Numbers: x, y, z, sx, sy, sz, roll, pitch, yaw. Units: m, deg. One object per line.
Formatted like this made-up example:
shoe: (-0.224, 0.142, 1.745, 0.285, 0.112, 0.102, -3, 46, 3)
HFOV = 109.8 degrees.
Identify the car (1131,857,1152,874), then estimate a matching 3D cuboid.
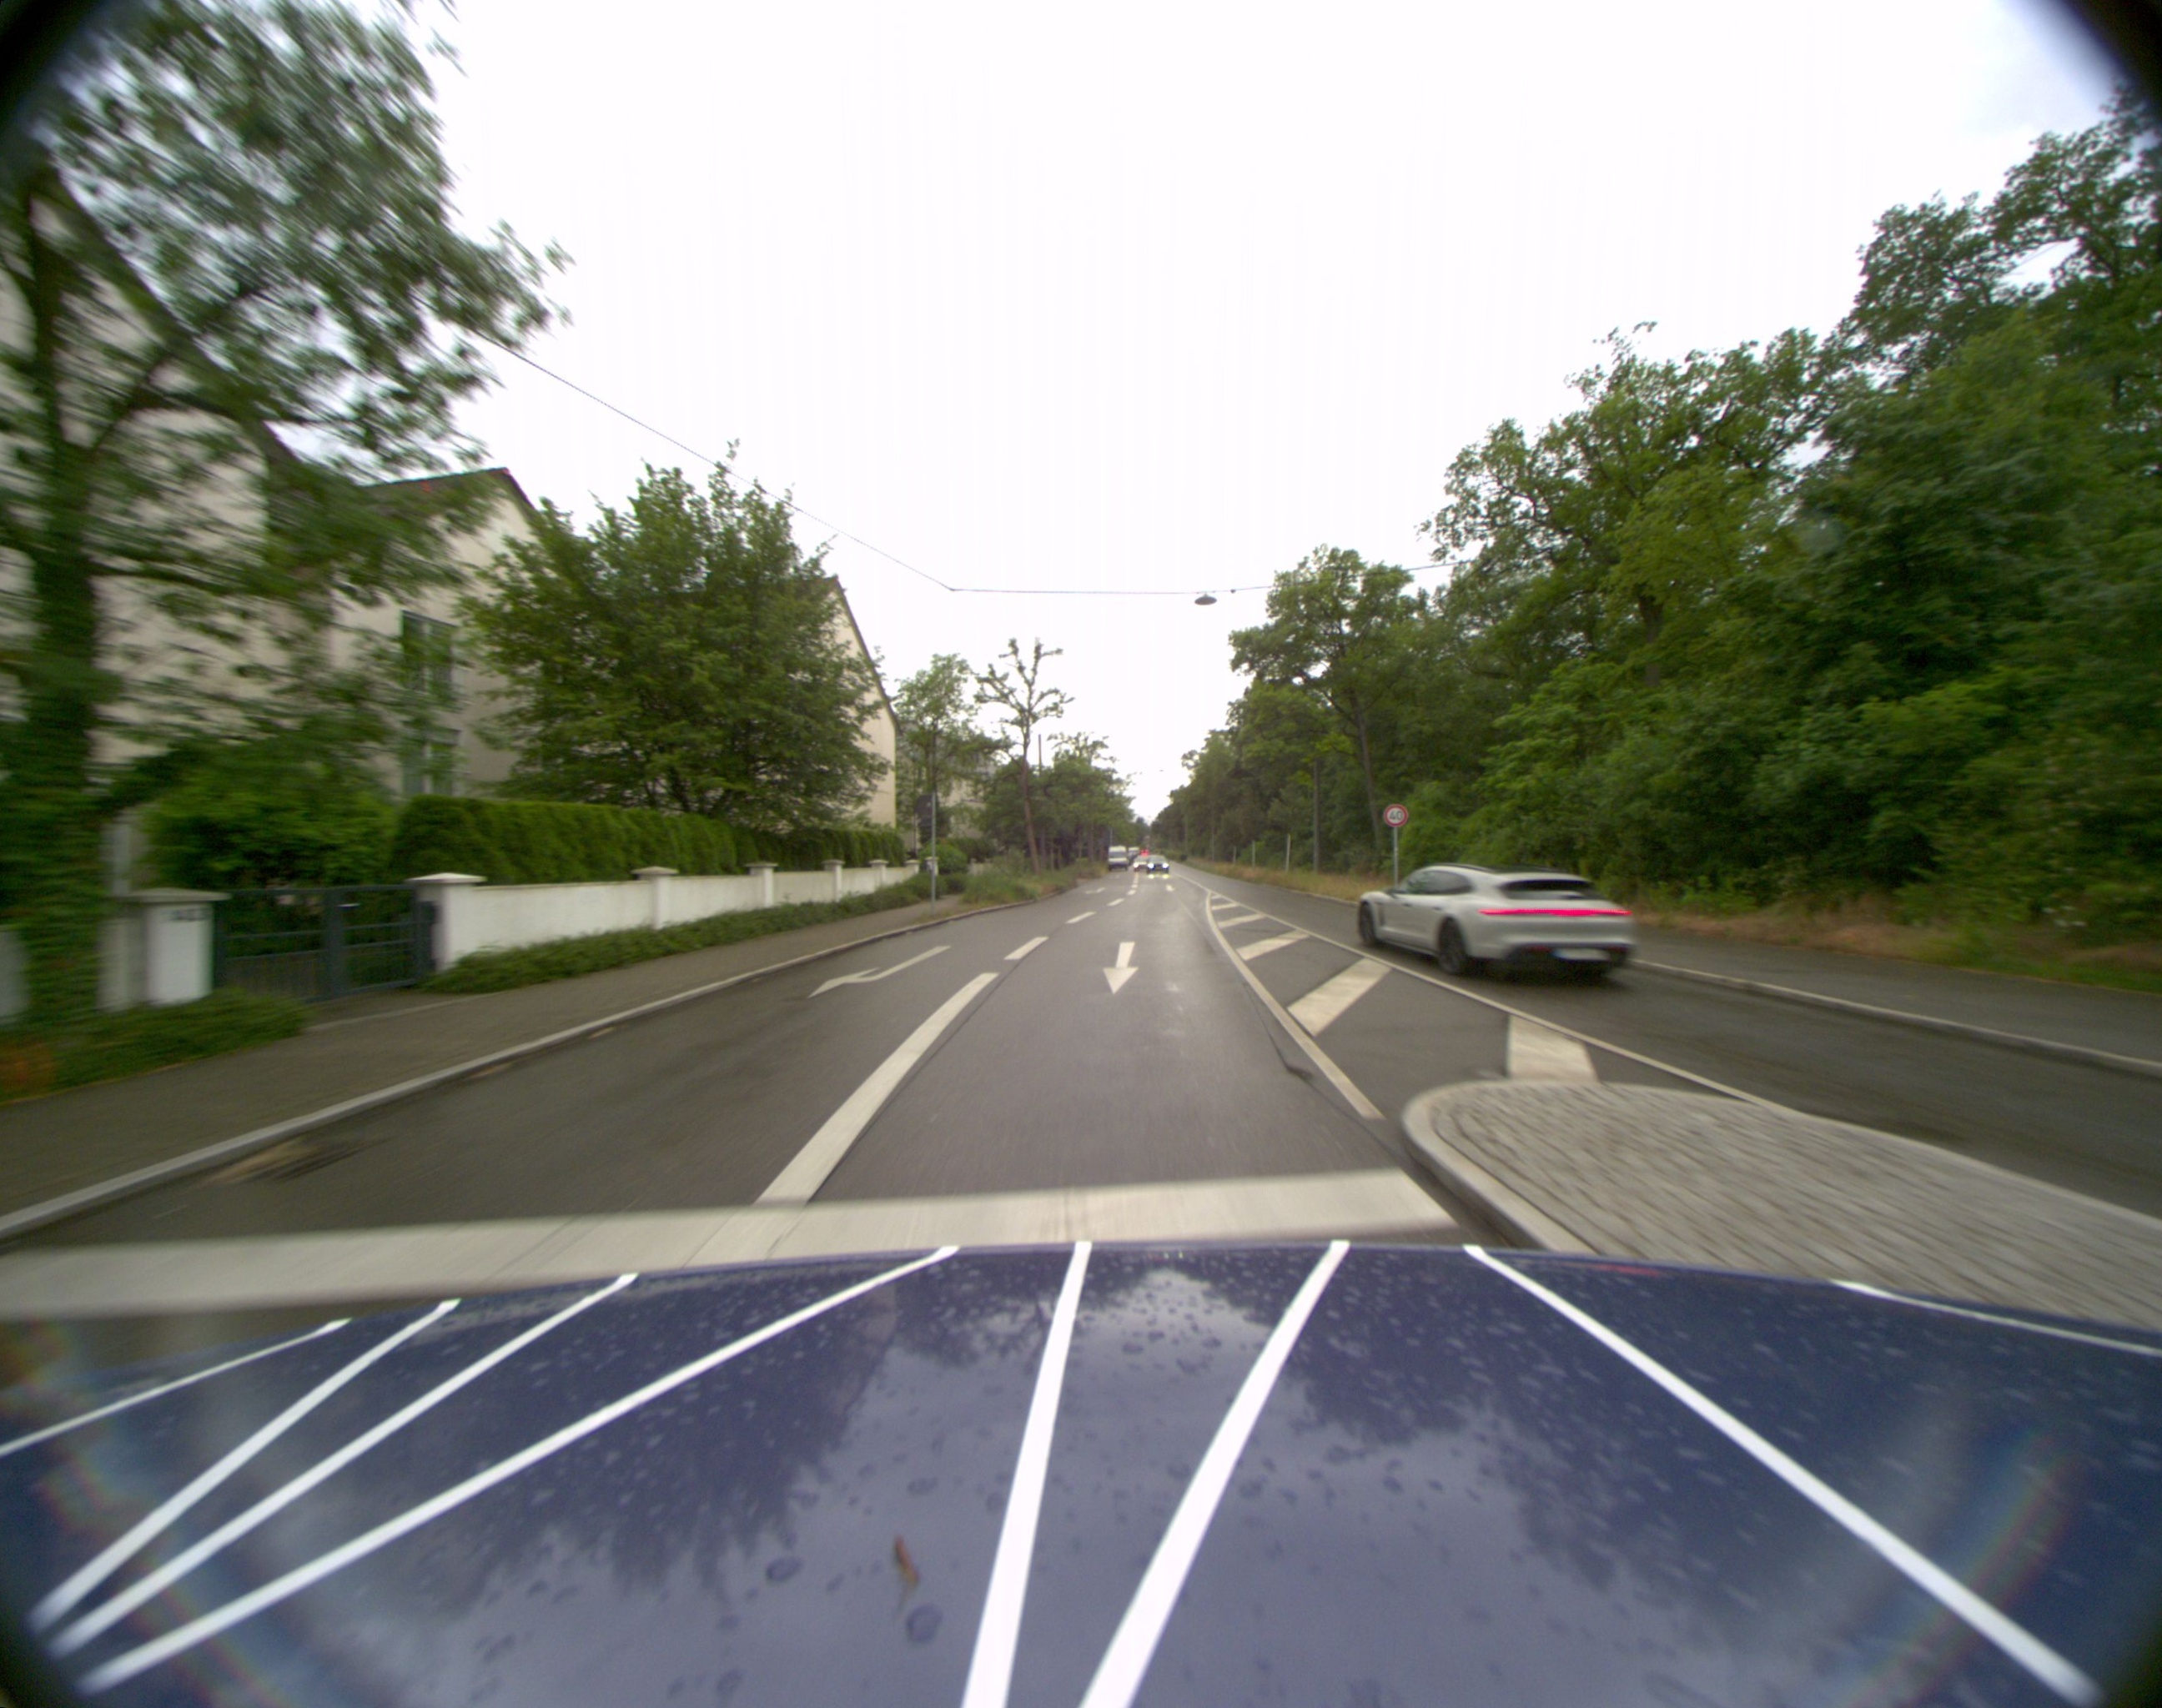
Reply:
car: (5.845, 1.076, 73.326, 1.944, 1.594, 4.605, 1, 0, 4)

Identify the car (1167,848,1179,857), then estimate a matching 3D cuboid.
car: (16.474, -0.209, 136.210, 1.944, 1.594, 4.605, 1, 0, 4)

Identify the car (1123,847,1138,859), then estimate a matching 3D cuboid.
car: (6.527, -0.144, 99.611, 1.944, 1.594, 4.605, 1, 0, 4)

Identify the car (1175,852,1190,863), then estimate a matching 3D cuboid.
car: (15.537, 0.477, 116.201, 1.944, 1.594, 4.605, 1, 0, 4)

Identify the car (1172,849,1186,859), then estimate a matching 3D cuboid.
car: (15.761, -0.020, 122.545, 1.944, 1.594, 4.605, 1, 0, 4)

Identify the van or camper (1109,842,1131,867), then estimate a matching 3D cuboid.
van or camper: (4.100, 0.054, 79.074, 1.997, 2.438, 4.724, -1, 0, 6)

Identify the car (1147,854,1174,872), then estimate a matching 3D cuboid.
car: (6.546, 0.724, 63.312, 1.944, 1.446, 4.605, 1, 0, 2)

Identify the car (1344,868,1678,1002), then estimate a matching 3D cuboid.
car: (5.537, 0.941, 10.655, 1.945, 1.368, 4.603, 1, 0, -2)

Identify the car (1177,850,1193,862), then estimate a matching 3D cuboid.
car: (14.694, 0.311, 107.685, 1.944, 1.594, 4.605, 1, 0, 4)
